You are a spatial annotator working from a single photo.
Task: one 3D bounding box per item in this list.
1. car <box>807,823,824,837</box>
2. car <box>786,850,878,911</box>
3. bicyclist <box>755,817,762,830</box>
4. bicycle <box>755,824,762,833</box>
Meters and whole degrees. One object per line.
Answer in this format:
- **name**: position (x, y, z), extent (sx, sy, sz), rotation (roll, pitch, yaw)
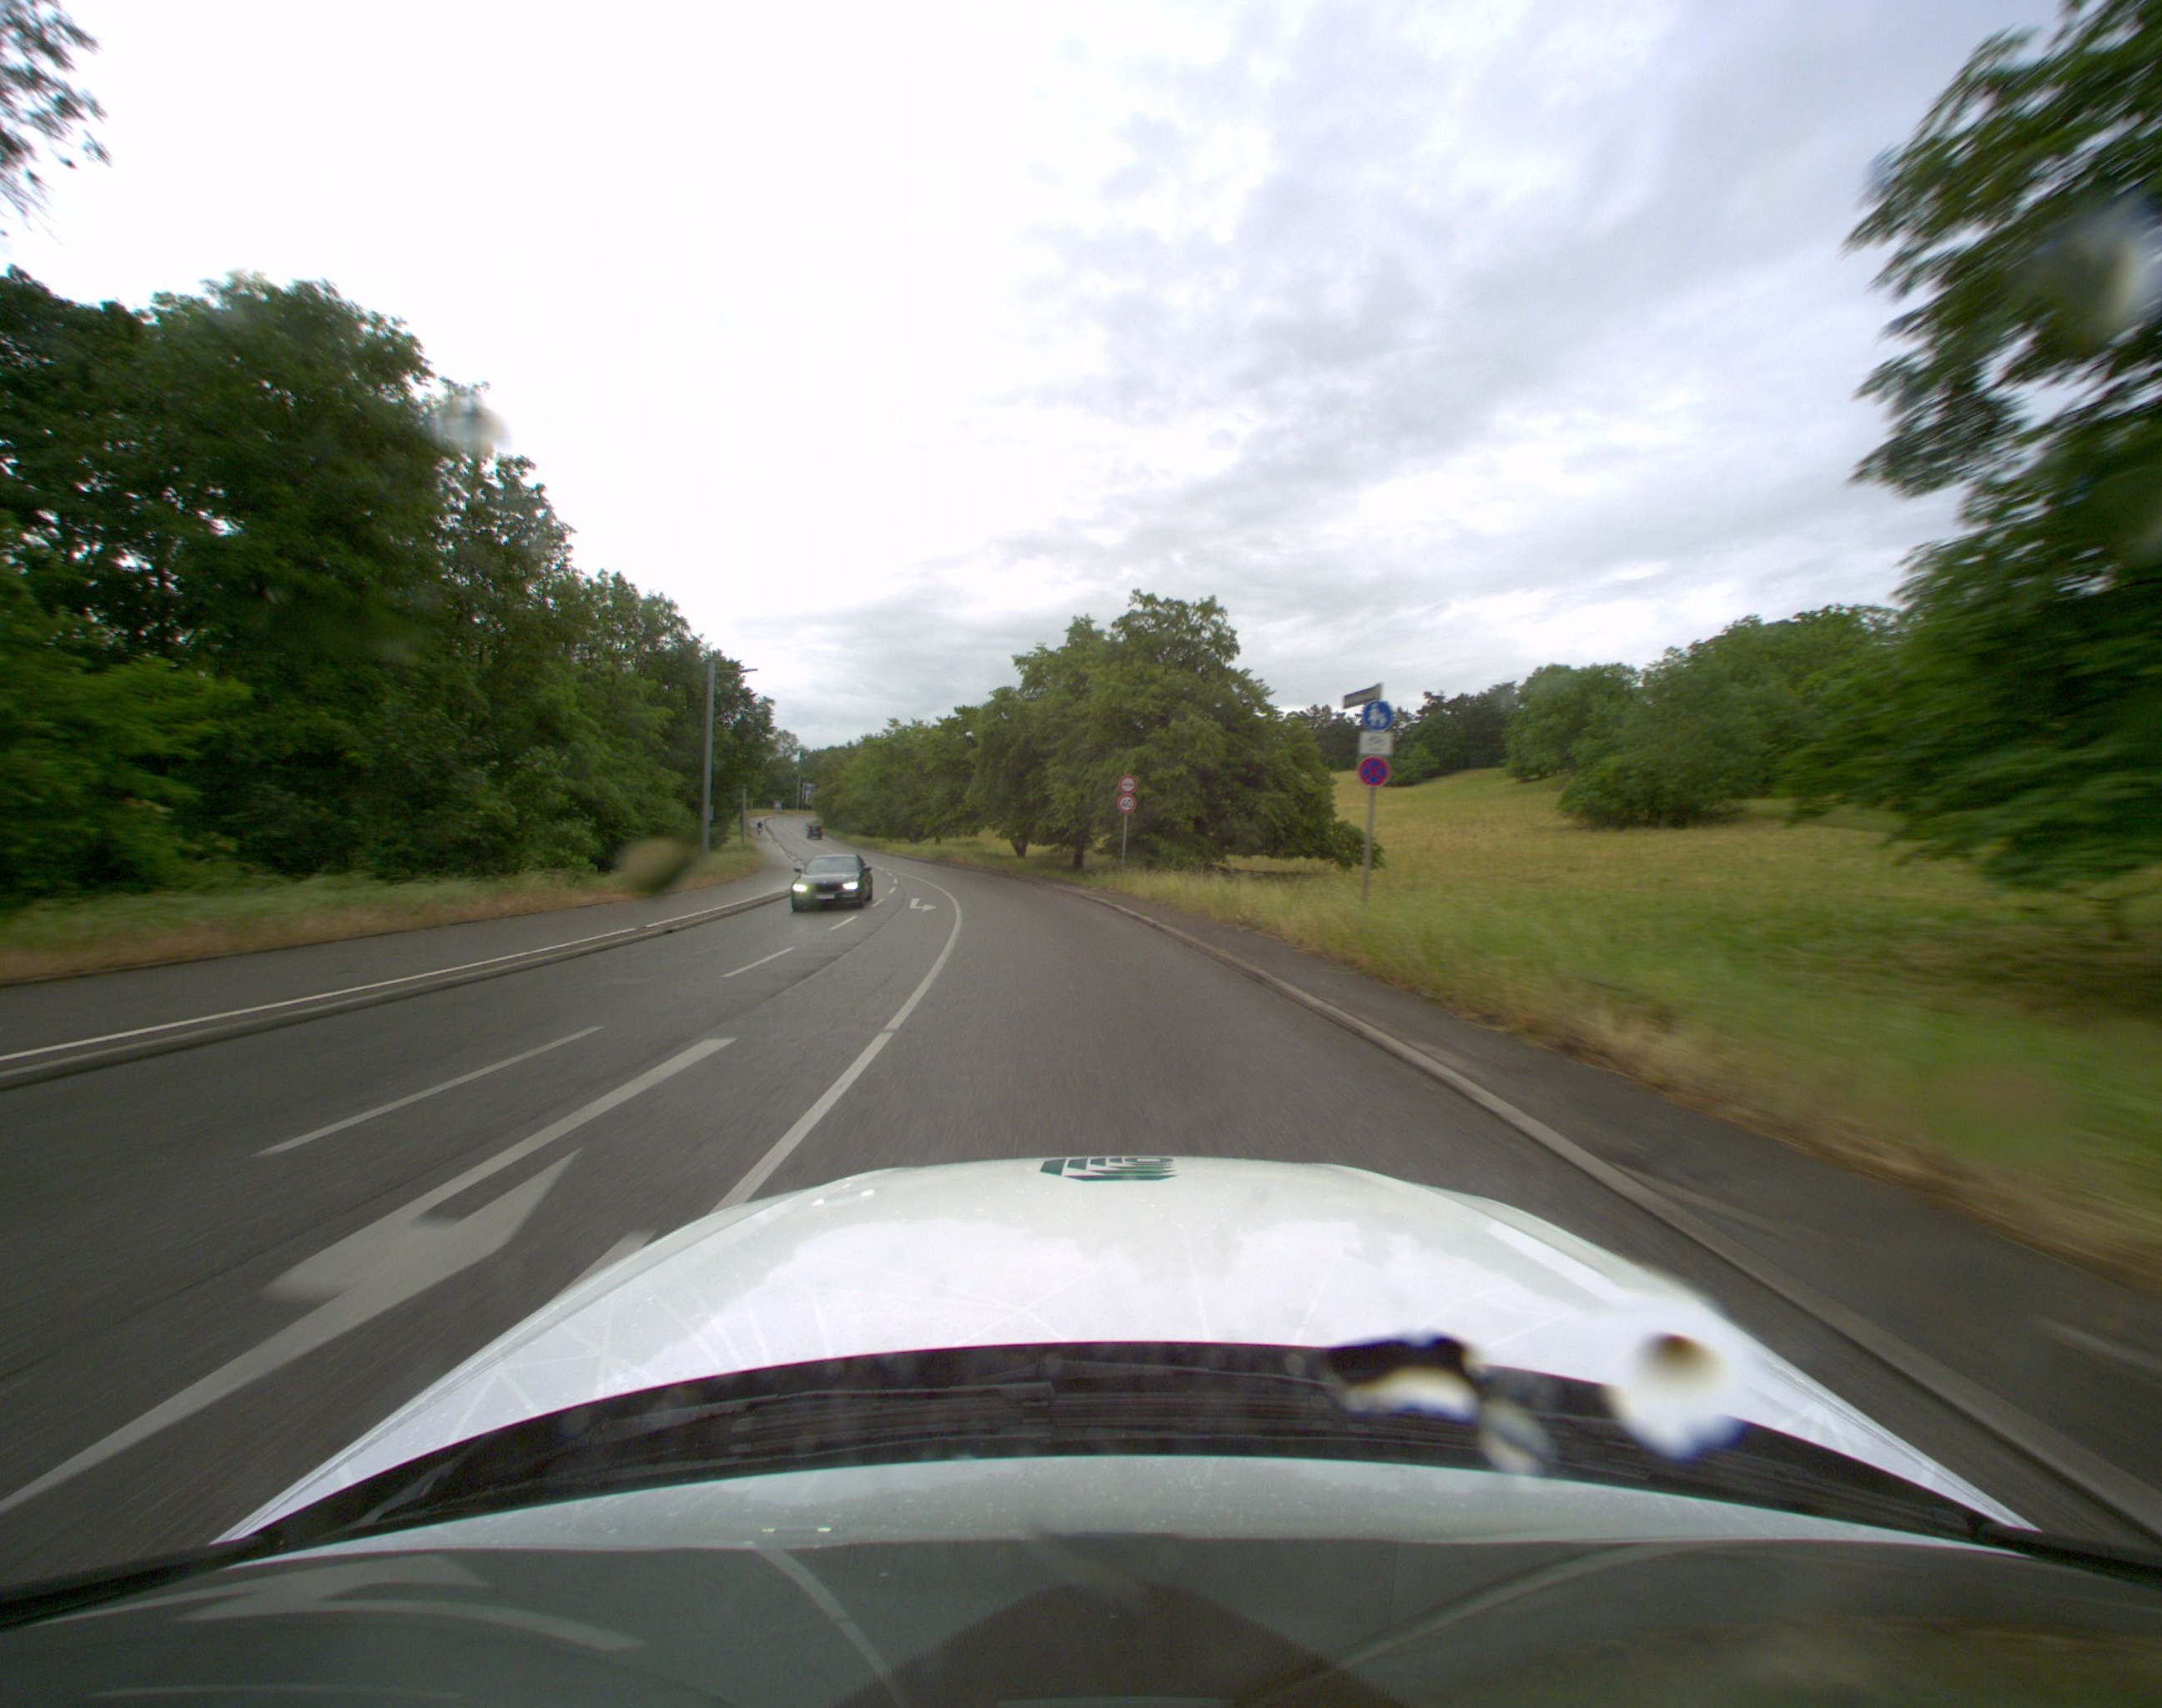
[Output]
- **car**: position (-34.372, -3.130, 105.372), extent (1.748, 1.716, 3.972), rotation (3, 2, -22)
- **car**: position (-6.975, 0.667, 23.274), extent (1.846, 1.501, 4.617), rotation (-2, 0, -9)
- **bicyclist**: position (-40.261, -3.769, 101.717), extent (0.711, 1.555, 1.162), rotation (3, 1, -24)
- **bicycle**: position (-40.240, -3.174, 101.601), extent (0.727, 0.941, 2.531), rotation (3, 1, -24)
